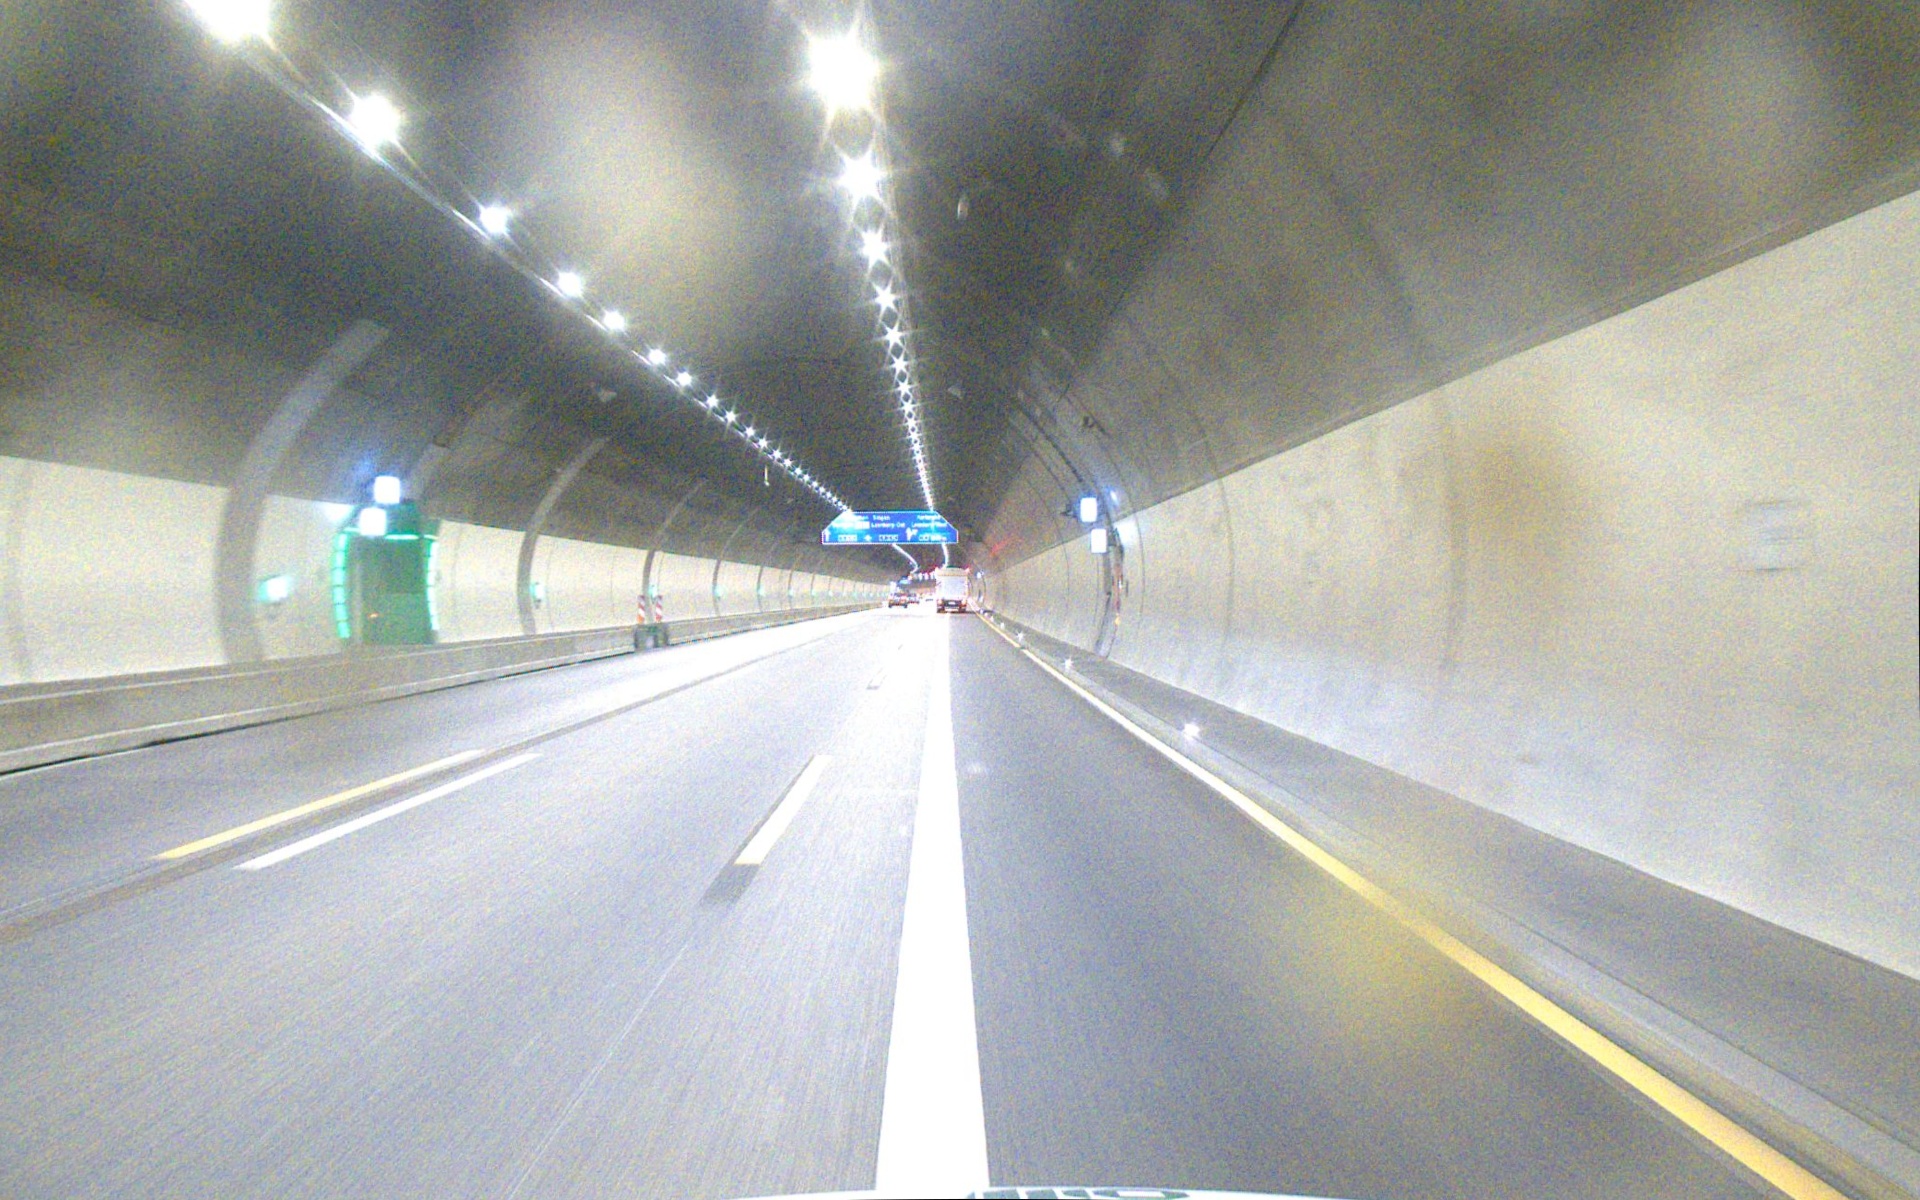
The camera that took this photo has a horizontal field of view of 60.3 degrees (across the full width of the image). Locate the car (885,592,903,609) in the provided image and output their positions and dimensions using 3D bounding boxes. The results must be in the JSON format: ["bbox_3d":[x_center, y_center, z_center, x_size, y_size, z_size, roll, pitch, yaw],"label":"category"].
[{"bbox_3d":[-6.583,0.004,165.066,1.776,1.646,3.998,1,1,-3],"label":"car"}]

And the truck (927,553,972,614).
[{"bbox_3d":[-0.989,-1.347,137.842,3.212,4.731,17.279,-1,0,-2],"label":"truck"}]

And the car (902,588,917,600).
[{"bbox_3d":[-6.756,-0.837,221.879,1.777,1.546,3.998,1,2,-4],"label":"car"}]
